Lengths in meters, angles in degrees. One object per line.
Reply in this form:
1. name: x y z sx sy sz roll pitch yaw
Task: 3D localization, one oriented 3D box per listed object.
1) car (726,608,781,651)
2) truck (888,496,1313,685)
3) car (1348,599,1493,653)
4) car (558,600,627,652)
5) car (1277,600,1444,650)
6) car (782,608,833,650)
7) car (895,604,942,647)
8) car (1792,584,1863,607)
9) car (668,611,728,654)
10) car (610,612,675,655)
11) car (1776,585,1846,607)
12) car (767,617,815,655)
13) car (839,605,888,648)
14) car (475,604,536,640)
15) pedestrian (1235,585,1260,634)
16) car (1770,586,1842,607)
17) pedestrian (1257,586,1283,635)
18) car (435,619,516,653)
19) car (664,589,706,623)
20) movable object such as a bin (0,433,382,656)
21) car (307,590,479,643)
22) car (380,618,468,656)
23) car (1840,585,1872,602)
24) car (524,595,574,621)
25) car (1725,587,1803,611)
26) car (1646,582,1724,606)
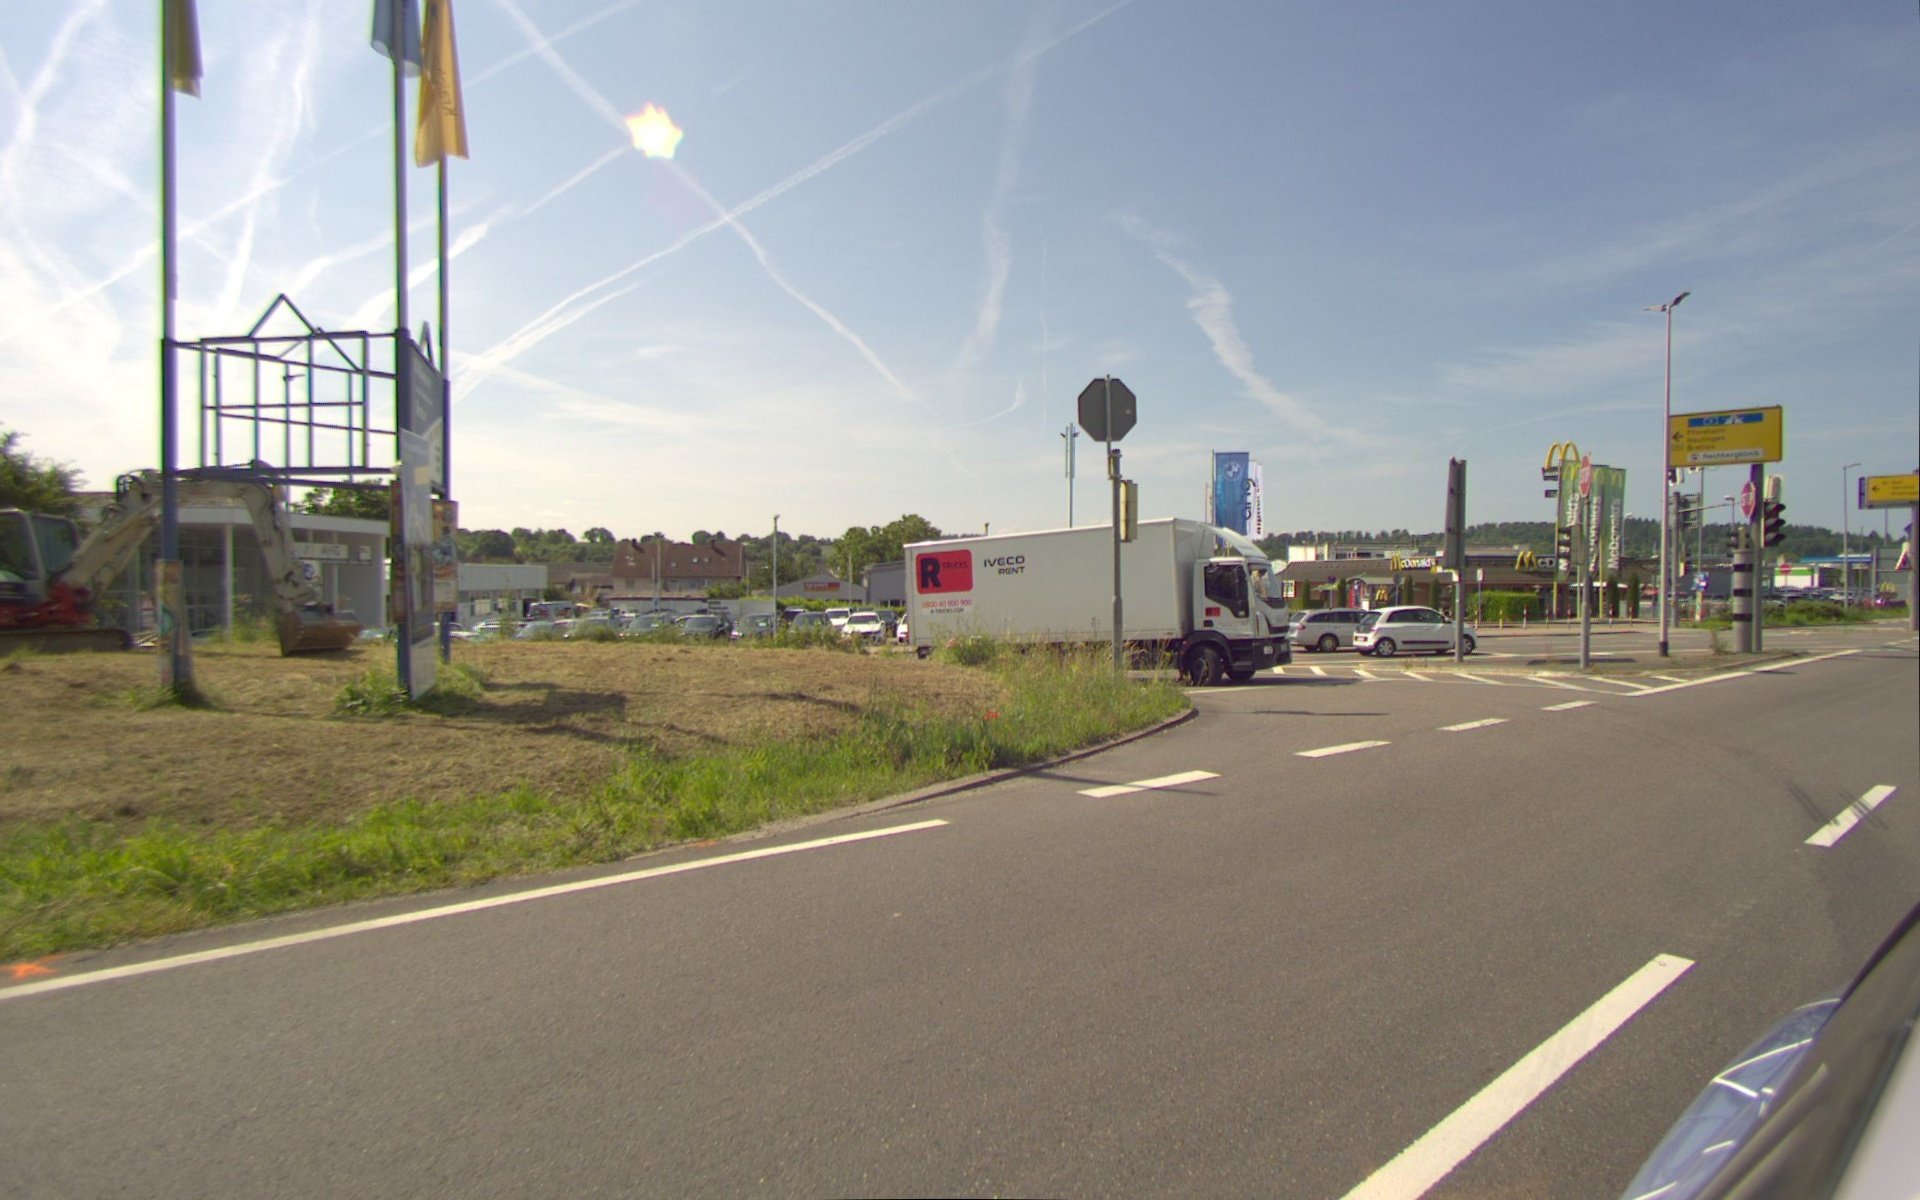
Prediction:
1. car: -9.230 1.292 45.581 2.049 1.638 3.933 1 2 -6
2. truck: 2.999 0.014 24.011 9.630 3.674 2.734 -4 -1 34
3. car: 14.381 0.802 31.757 3.684 1.523 1.711 -2 0 0
4. car: -16.447 1.111 45.479 2.027 2.060 4.088 1 2 -6
5. car: 13.774 0.838 34.995 4.906 1.524 2.000 -2 0 1
6. car: -6.824 1.266 45.645 2.049 1.638 4.041 1 2 -6
7. car: -1.946 1.119 46.030 1.960 1.638 4.485 1 2 -4
8. car: 70.121 -0.360 81.867 3.977 1.691 1.764 2 2 22
9. car: -11.717 1.413 45.505 2.049 1.638 4.006 1 2 -6
10. car: -14.167 1.458 45.418 2.062 1.638 4.088 1 2 -7
11. car: 70.757 -0.354 84.163 3.942 1.691 1.913 1 2 15
12. car: -8.613 1.829 51.940 1.969 1.638 4.086 1 2 -3
13. car: -4.403 1.176 45.881 2.049 1.638 4.481 1 2 -6
14. car: -24.029 1.119 53.664 1.967 1.638 4.089 1 2 -9
15. pedestrian: 12.046 0.400 42.403 0.861 2.039 0.665 0 0 -3
16. car: 65.599 -0.299 78.518 4.180 1.510 1.751 1 2 -3
17. pedestrian: 12.983 0.415 42.435 0.861 2.039 0.665 0 0 -3
18. car: -21.584 1.585 45.247 1.960 1.204 4.005 1 2 -5
19. car: -14.776 0.280 54.581 1.967 1.638 4.091 1 2 -12
20. movable object such as a bin: -13.492 -0.882 16.410 6.573 3.247 2.904 1 2 -3
21. car: -17.552 0.483 31.488 4.241 1.478 1.999 -1 2 3
22. car: -23.906 1.628 45.293 1.961 1.389 4.004 1 2 -3
23. car: 90.789 -0.670 102.557 4.630 1.675 1.905 -1 3 -43
24. car: -29.462 0.551 72.692 1.970 1.638 4.191 1 2 -1
25. car: 57.780 -0.098 72.766 4.150 1.595 1.862 1 2 -3
26. car: 57.064 -0.483 79.704 4.724 1.691 1.914 1 2 -3
